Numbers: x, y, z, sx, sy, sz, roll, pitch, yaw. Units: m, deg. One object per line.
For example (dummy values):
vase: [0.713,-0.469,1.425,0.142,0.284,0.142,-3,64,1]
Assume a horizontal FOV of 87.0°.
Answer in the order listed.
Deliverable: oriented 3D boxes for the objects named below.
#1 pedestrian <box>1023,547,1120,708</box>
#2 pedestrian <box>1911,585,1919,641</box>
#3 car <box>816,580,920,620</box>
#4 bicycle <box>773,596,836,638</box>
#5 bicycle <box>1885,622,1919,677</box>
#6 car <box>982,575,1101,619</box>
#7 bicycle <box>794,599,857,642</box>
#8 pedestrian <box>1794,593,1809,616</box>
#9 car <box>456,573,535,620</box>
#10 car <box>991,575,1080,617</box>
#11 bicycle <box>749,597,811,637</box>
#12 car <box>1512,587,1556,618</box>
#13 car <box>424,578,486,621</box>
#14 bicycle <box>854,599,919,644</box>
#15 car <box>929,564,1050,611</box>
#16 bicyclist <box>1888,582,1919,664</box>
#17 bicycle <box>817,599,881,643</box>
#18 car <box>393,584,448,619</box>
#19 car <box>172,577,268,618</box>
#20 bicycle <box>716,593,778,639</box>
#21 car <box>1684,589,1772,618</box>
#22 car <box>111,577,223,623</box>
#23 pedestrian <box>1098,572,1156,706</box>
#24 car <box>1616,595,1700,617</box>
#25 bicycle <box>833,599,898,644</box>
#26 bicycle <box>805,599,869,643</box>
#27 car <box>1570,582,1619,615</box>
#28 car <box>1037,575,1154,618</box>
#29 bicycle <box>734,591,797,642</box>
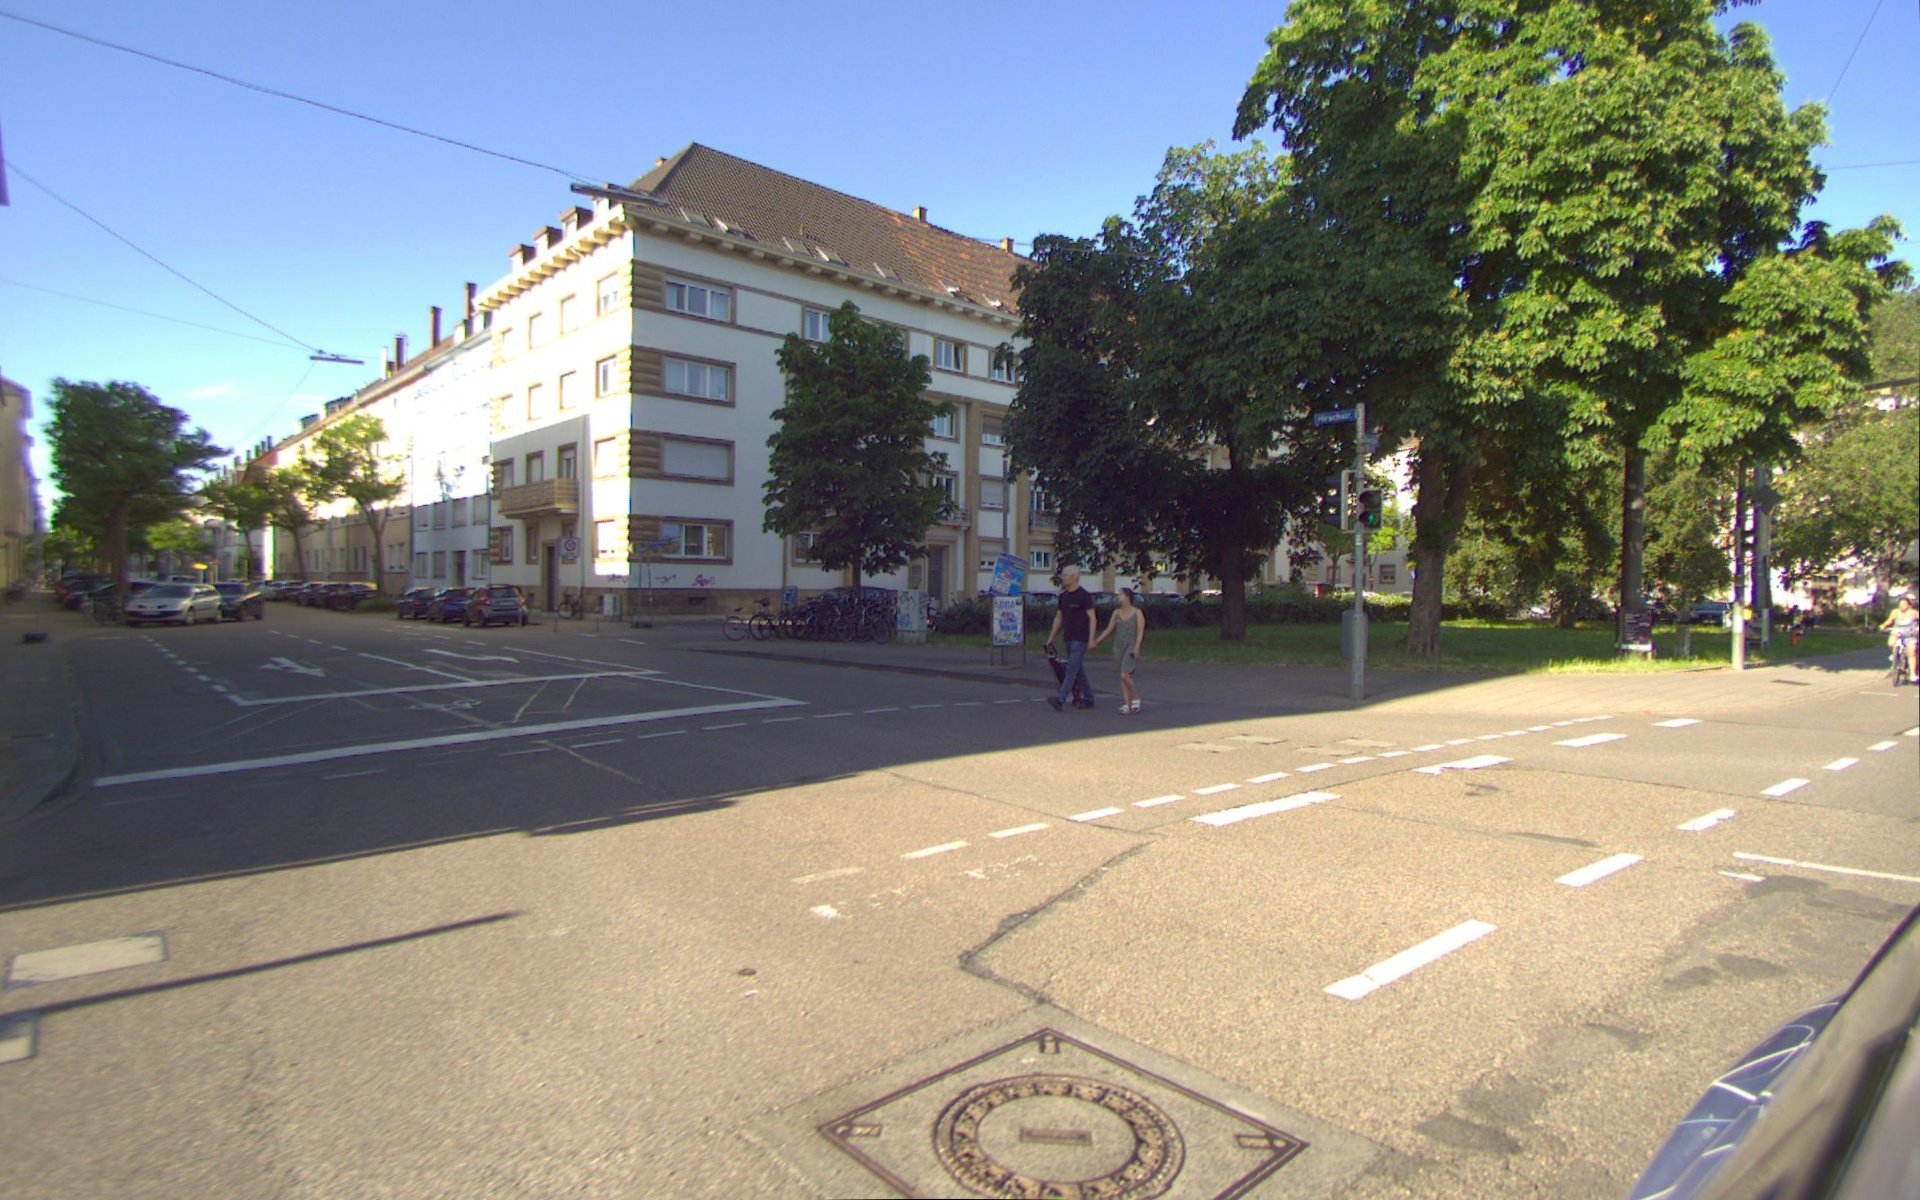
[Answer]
pedestrian: [1.373,0.295,12.386,0.784,1.850,1.022,2,2,33]
pedestrian: [29.946,0.408,31.351,0.562,1.719,0.589,0,0,32]
car: [-3.713,-0.027,41.327,3.932,1.589,1.844,0,1,-42]
bicycle: [-4.242,0.451,27.730,1.798,1.108,0.365,0,1,-43]
bicycle: [17.874,0.918,18.912,1.706,0.942,0.683,0,1,-41]
car: [2.812,-0.131,35.634,1.964,1.466,3.996,0,1,-39]
bicycle: [-3.596,0.534,27.148,1.798,1.108,0.365,0,1,-43]
pedestrian: [39.474,0.205,47.487,0.602,1.092,0.459,0,0,-41]
car: [-17.457,-0.155,37.936,1.963,1.671,3.999,0,1,-36]
car: [3.539,-0.189,47.185,3.932,1.867,1.996,0,1,-42]
bicycle: [-5.040,0.460,28.409,1.798,1.108,0.365,0,1,-43]
car: [33.360,0.116,58.797,1.985,1.720,4.227,1,1,33]
car: [-20.750,-0.039,41.485,1.659,1.671,3.999,0,1,-36]
bicycle: [-1.832,0.527,25.516,1.798,1.108,0.365,0,1,-43]
car: [0.936,-0.436,33.850,1.964,1.466,3.996,0,1,-39]
bicyclist: [17.849,0.417,18.881,0.920,1.493,0.677,0,0,-41]
bicycle: [-2.862,0.529,26.254,1.798,1.108,0.365,0,1,-43]
car: [-24.196,0.033,45.334,1.659,1.512,3.999,0,1,-36]
car: [-29.029,-0.120,39.859,1.958,1.538,4.231,0,1,-20]
bicycle: [-6.146,0.454,29.246,1.798,1.302,0.432,0,1,-43]
car: [37.323,0.137,49.150,4.192,1.340,2.002,0,1,-31]
car: [-27.611,-0.029,35.401,1.879,1.526,4.178,0,1,-20]
pedestrian: [2.035,0.453,12.311,0.501,1.565,0.513,2,2,33]
car: [35.687,0.285,51.727,4.192,1.080,2.002,0,1,-31]
bicycle: [-2.412,0.528,26.010,1.798,1.108,0.365,0,1,-43]
bicycle: [-3.219,0.534,26.696,1.798,1.108,0.365,0,1,-43]
car: [34.865,-0.113,55.540,1.988,1.720,4.222,1,1,36]
car: [4.880,-0.142,36.815,1.964,1.466,3.996,0,1,-39]
bicycle: [-5.538,0.453,28.937,1.798,1.405,0.432,0,1,-43]
